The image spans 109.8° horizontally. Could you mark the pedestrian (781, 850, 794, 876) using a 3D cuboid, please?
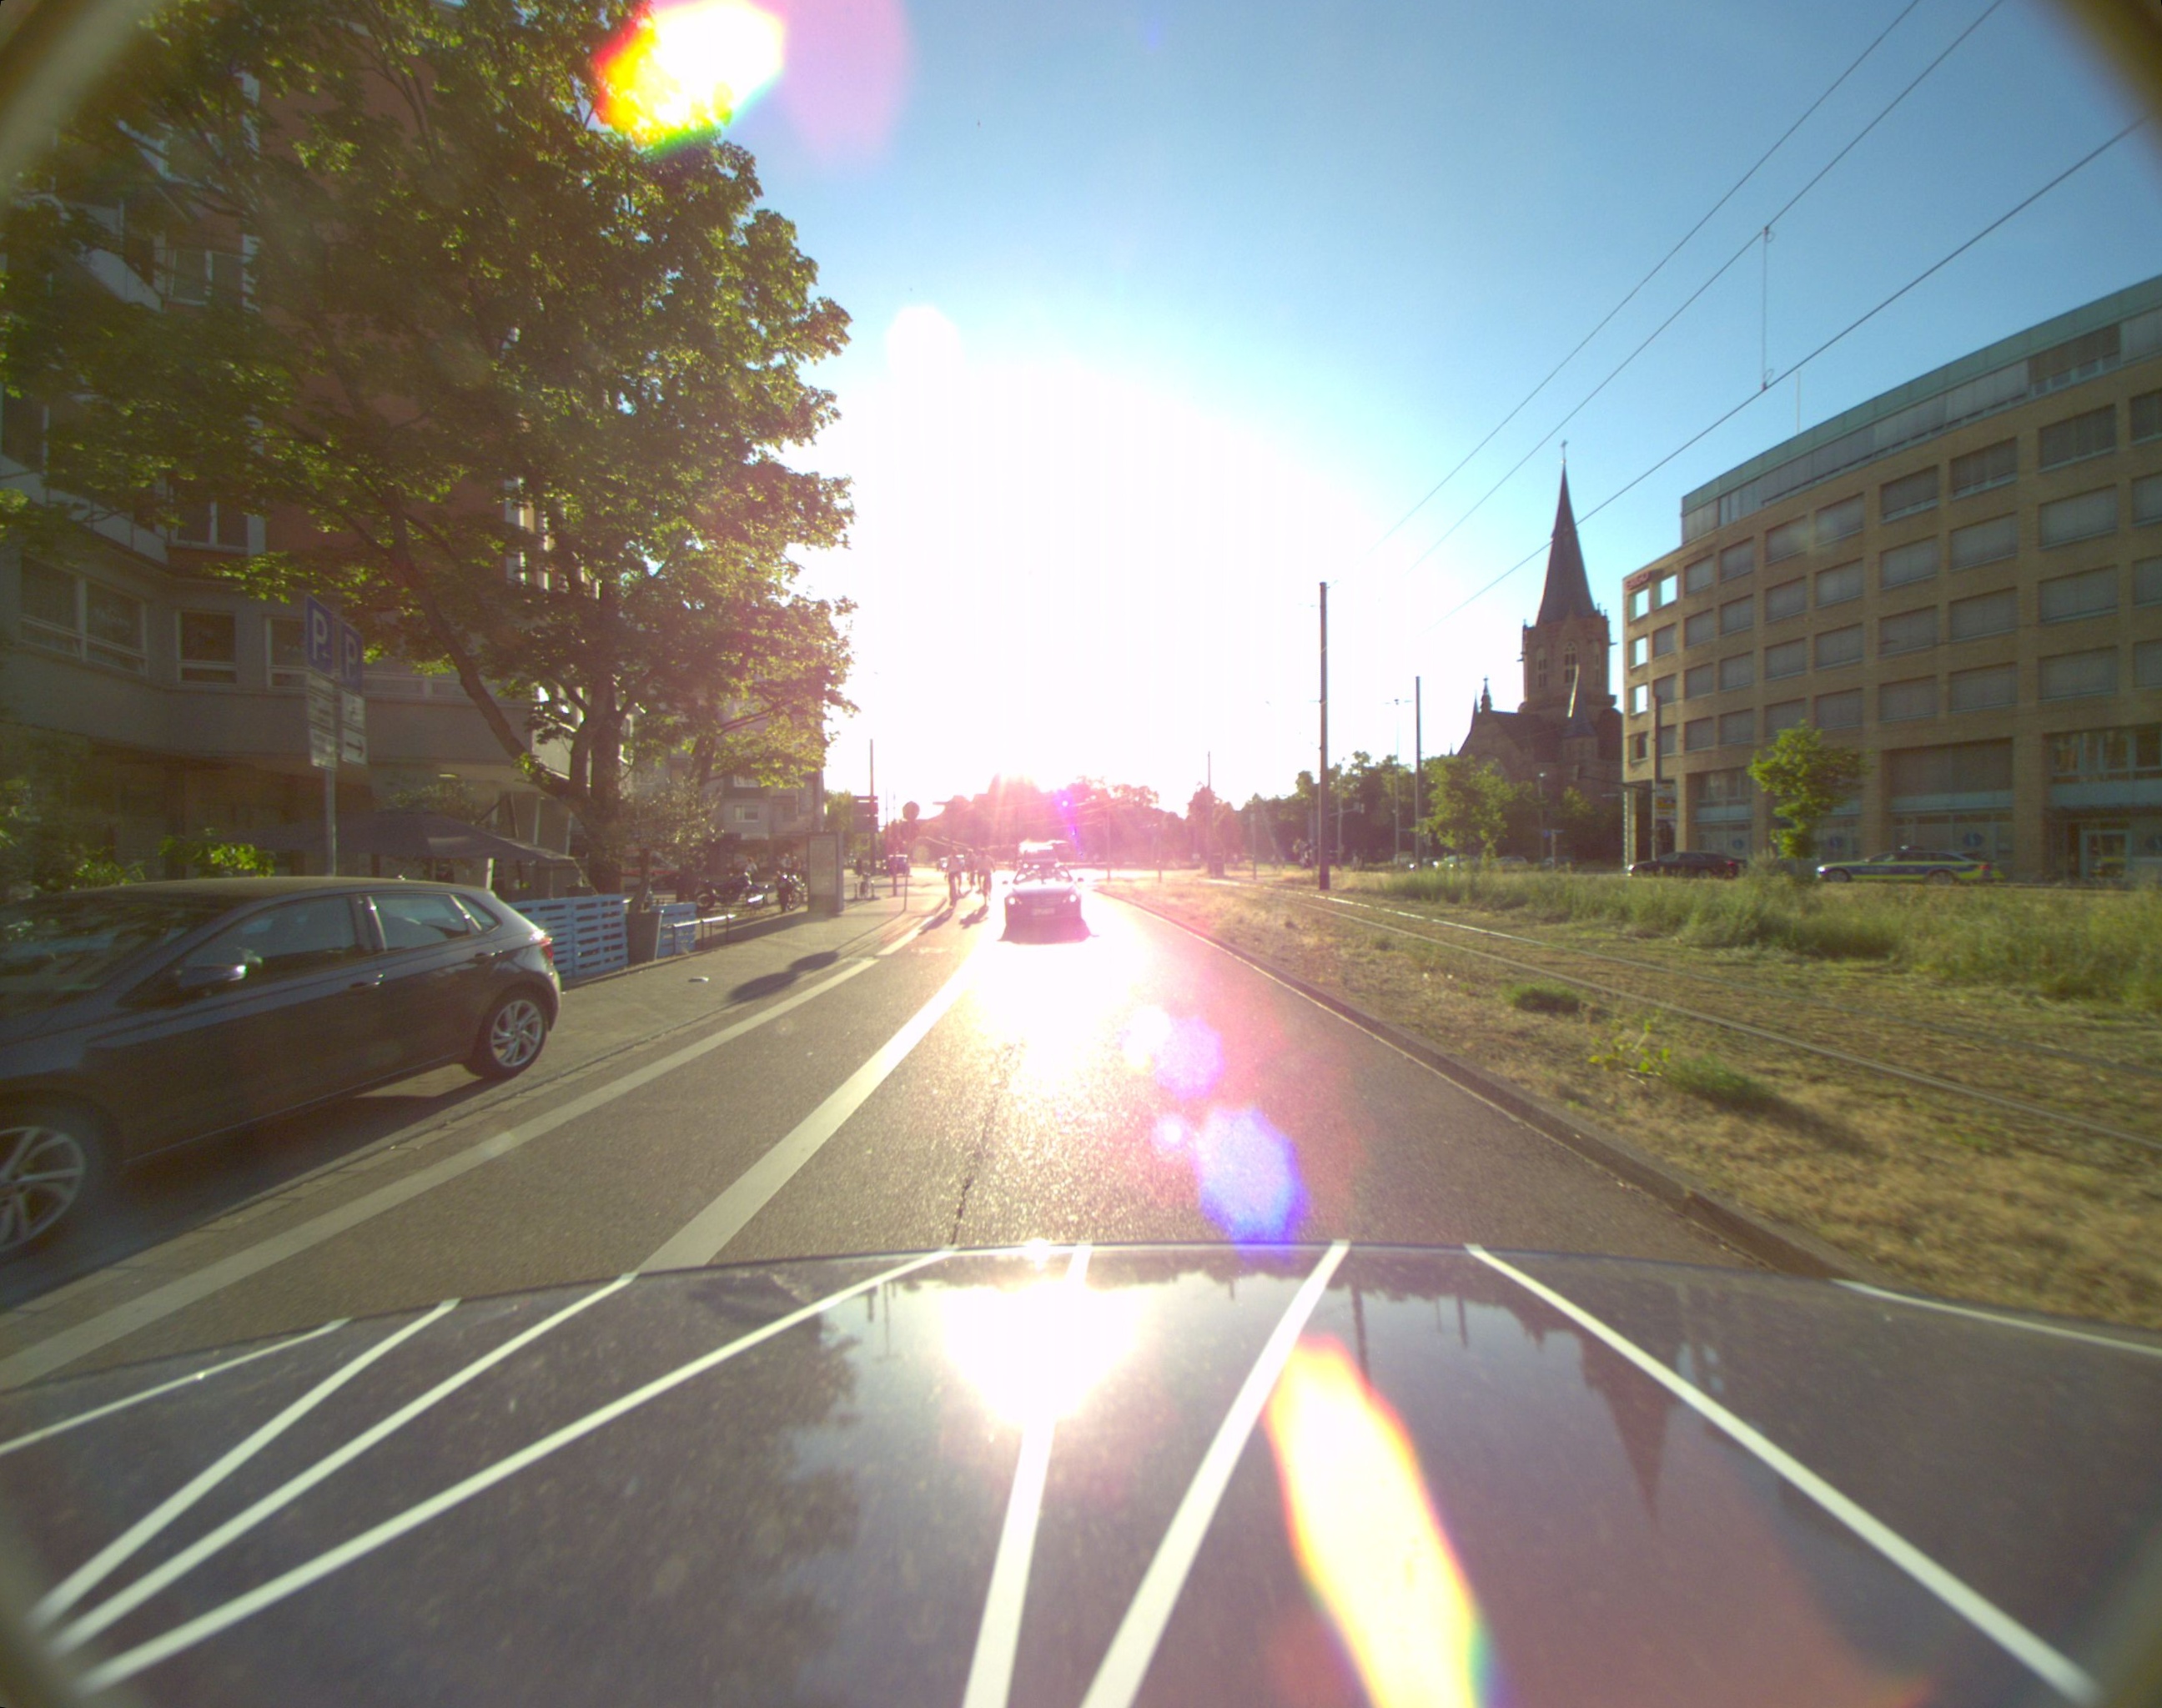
[{"bbox_3d":[-19.385,0.580,50.218,0.786,1.691,1.025,-1,0,-19],"label":"pedestrian"}]

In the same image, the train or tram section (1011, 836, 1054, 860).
[{"bbox_3d":[-7.621,-0.841,117.723,2.785,3.515,13.227,-1,0,-21],"label":"train or tram section"}]

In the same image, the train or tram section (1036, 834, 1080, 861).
[{"bbox_3d":[-3.341,-0.842,106.617,2.785,3.515,10.551,-1,0,-21],"label":"train or tram section"}]

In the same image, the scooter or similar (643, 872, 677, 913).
[{"bbox_3d":[-13.551,1.229,24.494,0.416,1.247,1.182,-1,0,-1],"label":"scooter or similar"}]

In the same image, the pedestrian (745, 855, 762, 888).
[{"bbox_3d":[-16.913,0.900,39.226,0.730,1.652,0.904,-1,0,-19],"label":"pedestrian"}]

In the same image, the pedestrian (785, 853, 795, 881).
[{"bbox_3d":[-17.746,0.809,46.340,0.571,1.691,0.811,-1,0,-19],"label":"pedestrian"}]

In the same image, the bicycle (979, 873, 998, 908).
[{"bbox_3d":[-2.999,1.167,24.590,0.480,1.022,1.979,-2,1,-9],"label":"bicycle"}]

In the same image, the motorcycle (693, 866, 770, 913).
[{"bbox_3d":[-10.929,1.103,23.844,2.051,1.398,0.759,-1,0,-13],"label":"motorcycle"}]

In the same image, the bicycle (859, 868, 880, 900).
[{"bbox_3d":[-7.878,1.097,28.265,0.647,1.120,1.871,-1,-1,-19],"label":"bicycle"}]

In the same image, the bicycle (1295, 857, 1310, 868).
[{"bbox_3d":[23.291,0.849,79.899,0.460,1.139,1.916,-2,1,-22],"label":"bicycle"}]

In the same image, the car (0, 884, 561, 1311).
[{"bbox_3d":[-4.968,1.000,3.940,1.732,1.463,3.899,2,0,2],"label":"car"}]

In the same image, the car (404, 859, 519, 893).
[{"bbox_3d":[-30.688,1.046,37.772,4.089,1.562,1.594,-1,0,-22],"label":"car"}]

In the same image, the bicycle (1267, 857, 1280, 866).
[{"bbox_3d":[22.189,0.843,87.729,0.460,1.020,1.927,-2,1,-20],"label":"bicycle"}]

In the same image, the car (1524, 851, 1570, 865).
[{"bbox_3d":[47.713,0.422,77.825,4.004,1.412,1.899,0,0,-21],"label":"car"}]

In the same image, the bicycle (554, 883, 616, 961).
[{"bbox_3d":[-8.109,1.066,12.489,0.422,1.151,1.753,-1,-1,-19],"label":"bicycle"}]

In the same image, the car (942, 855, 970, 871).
[{"bbox_3d":[-14.095,1.014,85.630,1.959,1.702,4.841,-3,1,-23],"label":"car"}]

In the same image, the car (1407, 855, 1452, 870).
[{"bbox_3d":[35.271,0.835,76.878,4.004,1.412,1.899,0,0,-21],"label":"car"}]

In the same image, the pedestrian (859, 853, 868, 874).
[{"bbox_3d":[-18.023,0.783,62.897,0.664,1.694,1.070,-1,0,-16],"label":"pedestrian"}]

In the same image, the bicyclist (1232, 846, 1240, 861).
[{"bbox_3d":[19.589,-0.089,95.881,0.575,1.816,0.893,-2,1,-21],"label":"bicyclist"}]

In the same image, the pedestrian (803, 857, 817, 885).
[{"bbox_3d":[-14.689,0.922,41.154,0.684,1.491,0.745,-1,0,-19],"label":"pedestrian"}]

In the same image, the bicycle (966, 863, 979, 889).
[{"bbox_3d":[-5.052,1.004,35.331,0.530,1.152,1.847,-2,1,-9],"label":"bicycle"}]

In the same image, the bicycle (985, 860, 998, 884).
[{"bbox_3d":[-4.574,0.911,38.759,0.530,1.152,1.847,-2,1,-9],"label":"bicycle"}]

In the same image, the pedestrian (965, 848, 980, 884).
[{"bbox_3d":[-5.031,0.559,35.207,0.640,1.639,0.842,-2,1,-8],"label":"pedestrian"}]

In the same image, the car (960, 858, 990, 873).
[{"bbox_3d":[-11.013,1.136,78.382,1.845,1.393,4.575,-3,1,-23],"label":"car"}]

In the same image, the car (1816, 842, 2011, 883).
[{"bbox_3d":[32.267,0.305,29.650,1.897,1.471,4.773,-1,0,-22],"label":"car"}]

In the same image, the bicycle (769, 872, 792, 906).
[{"bbox_3d":[-10.732,1.217,27.180,0.647,1.151,2.121,-1,-1,-19],"label":"bicycle"}]

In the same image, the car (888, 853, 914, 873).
[{"bbox_3d":[-17.337,0.841,73.108,1.945,1.922,4.824,-1,0,-19],"label":"car"}]

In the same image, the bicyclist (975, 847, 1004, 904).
[{"bbox_3d":[-2.980,0.680,24.640,0.829,1.797,1.056,-1,1,-10],"label":"bicyclist"}]

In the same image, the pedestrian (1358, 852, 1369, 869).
[{"bbox_3d":[27.697,0.640,74.491,0.739,1.663,0.716,-1,0,-18],"label":"pedestrian"}]

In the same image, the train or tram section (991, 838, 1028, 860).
[{"bbox_3d":[-12.388,-0.841,130.089,2.785,3.515,13.227,-1,0,-21],"label":"train or tram section"}]

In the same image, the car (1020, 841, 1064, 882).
[{"bbox_3d":[-2.132,0.359,39.854,1.921,1.978,4.943,-1,0,-7],"label":"car"}]

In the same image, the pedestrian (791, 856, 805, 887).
[{"bbox_3d":[-15.512,0.945,41.646,0.684,1.652,0.745,-1,0,-19],"label":"pedestrian"}]

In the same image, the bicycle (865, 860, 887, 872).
[{"bbox_3d":[-18.774,1.097,69.600,1.876,1.055,0.606,-1,0,-23],"label":"bicycle"}]

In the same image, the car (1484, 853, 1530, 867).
[{"bbox_3d":[42.486,0.600,75.811,4.004,1.412,1.899,0,0,-21],"label":"car"}]

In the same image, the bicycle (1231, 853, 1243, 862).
[{"bbox_3d":[19.652,0.421,95.821,0.526,1.020,1.927,-3,1,-21],"label":"bicycle"}]

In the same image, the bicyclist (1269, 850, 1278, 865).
[{"bbox_3d":[22.194,0.441,87.706,0.575,1.671,0.893,-2,1,-21],"label":"bicyclist"}]

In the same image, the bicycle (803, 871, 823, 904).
[{"bbox_3d":[-9.711,1.196,27.550,0.647,1.120,1.871,-1,-1,-19],"label":"bicycle"}]

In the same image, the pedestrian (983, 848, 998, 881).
[{"bbox_3d":[-4.615,0.532,38.714,0.679,1.639,0.901,-2,1,-9],"label":"pedestrian"}]

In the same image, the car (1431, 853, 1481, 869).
[{"bbox_3d":[34.624,0.667,70.182,4.003,1.412,1.899,0,0,-17],"label":"car"}]

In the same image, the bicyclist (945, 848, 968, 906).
[{"bbox_3d":[-3.949,0.714,24.124,0.676,1.797,0.993,-1,1,-10],"label":"bicyclist"}]

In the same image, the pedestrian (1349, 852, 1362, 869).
[{"bbox_3d":[26.854,0.668,74.349,0.739,1.663,1.103,-1,0,-18],"label":"pedestrian"}]

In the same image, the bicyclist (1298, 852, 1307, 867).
[{"bbox_3d":[23.265,0.582,79.878,0.522,1.574,0.819,-2,1,-21],"label":"bicyclist"}]

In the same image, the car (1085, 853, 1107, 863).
[{"bbox_3d":[2.153,0.620,113.142,1.732,1.406,3.878,-1,0,-25],"label":"car"}]

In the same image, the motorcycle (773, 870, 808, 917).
[{"bbox_3d":[-8.429,1.112,22.099,0.668,1.235,2.198,-1,0,-14],"label":"motorcycle"}]

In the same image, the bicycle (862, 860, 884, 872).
[{"bbox_3d":[-19.410,1.119,70.918,1.876,1.055,0.606,-1,0,-23],"label":"bicycle"}]

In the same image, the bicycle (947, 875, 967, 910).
[{"bbox_3d":[-3.937,1.200,24.132,0.577,1.022,1.855,-2,1,-9],"label":"bicycle"}]

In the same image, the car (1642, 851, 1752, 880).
[{"bbox_3d":[29.663,0.531,36.723,1.732,1.275,3.782,-1,0,-21],"label":"car"}]

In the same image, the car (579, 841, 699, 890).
[{"bbox_3d":[-23.524,0.587,40.705,5.272,2.468,1.922,-1,0,-21],"label":"car"}]

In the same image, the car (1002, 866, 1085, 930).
[{"bbox_3d":[-0.900,0.992,18.725,1.776,1.300,4.239,-1,0,-2],"label":"car"}]

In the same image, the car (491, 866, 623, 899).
[{"bbox_3d":[-24.215,1.288,35.323,4.680,1.333,1.837,-1,0,-19],"label":"car"}]
